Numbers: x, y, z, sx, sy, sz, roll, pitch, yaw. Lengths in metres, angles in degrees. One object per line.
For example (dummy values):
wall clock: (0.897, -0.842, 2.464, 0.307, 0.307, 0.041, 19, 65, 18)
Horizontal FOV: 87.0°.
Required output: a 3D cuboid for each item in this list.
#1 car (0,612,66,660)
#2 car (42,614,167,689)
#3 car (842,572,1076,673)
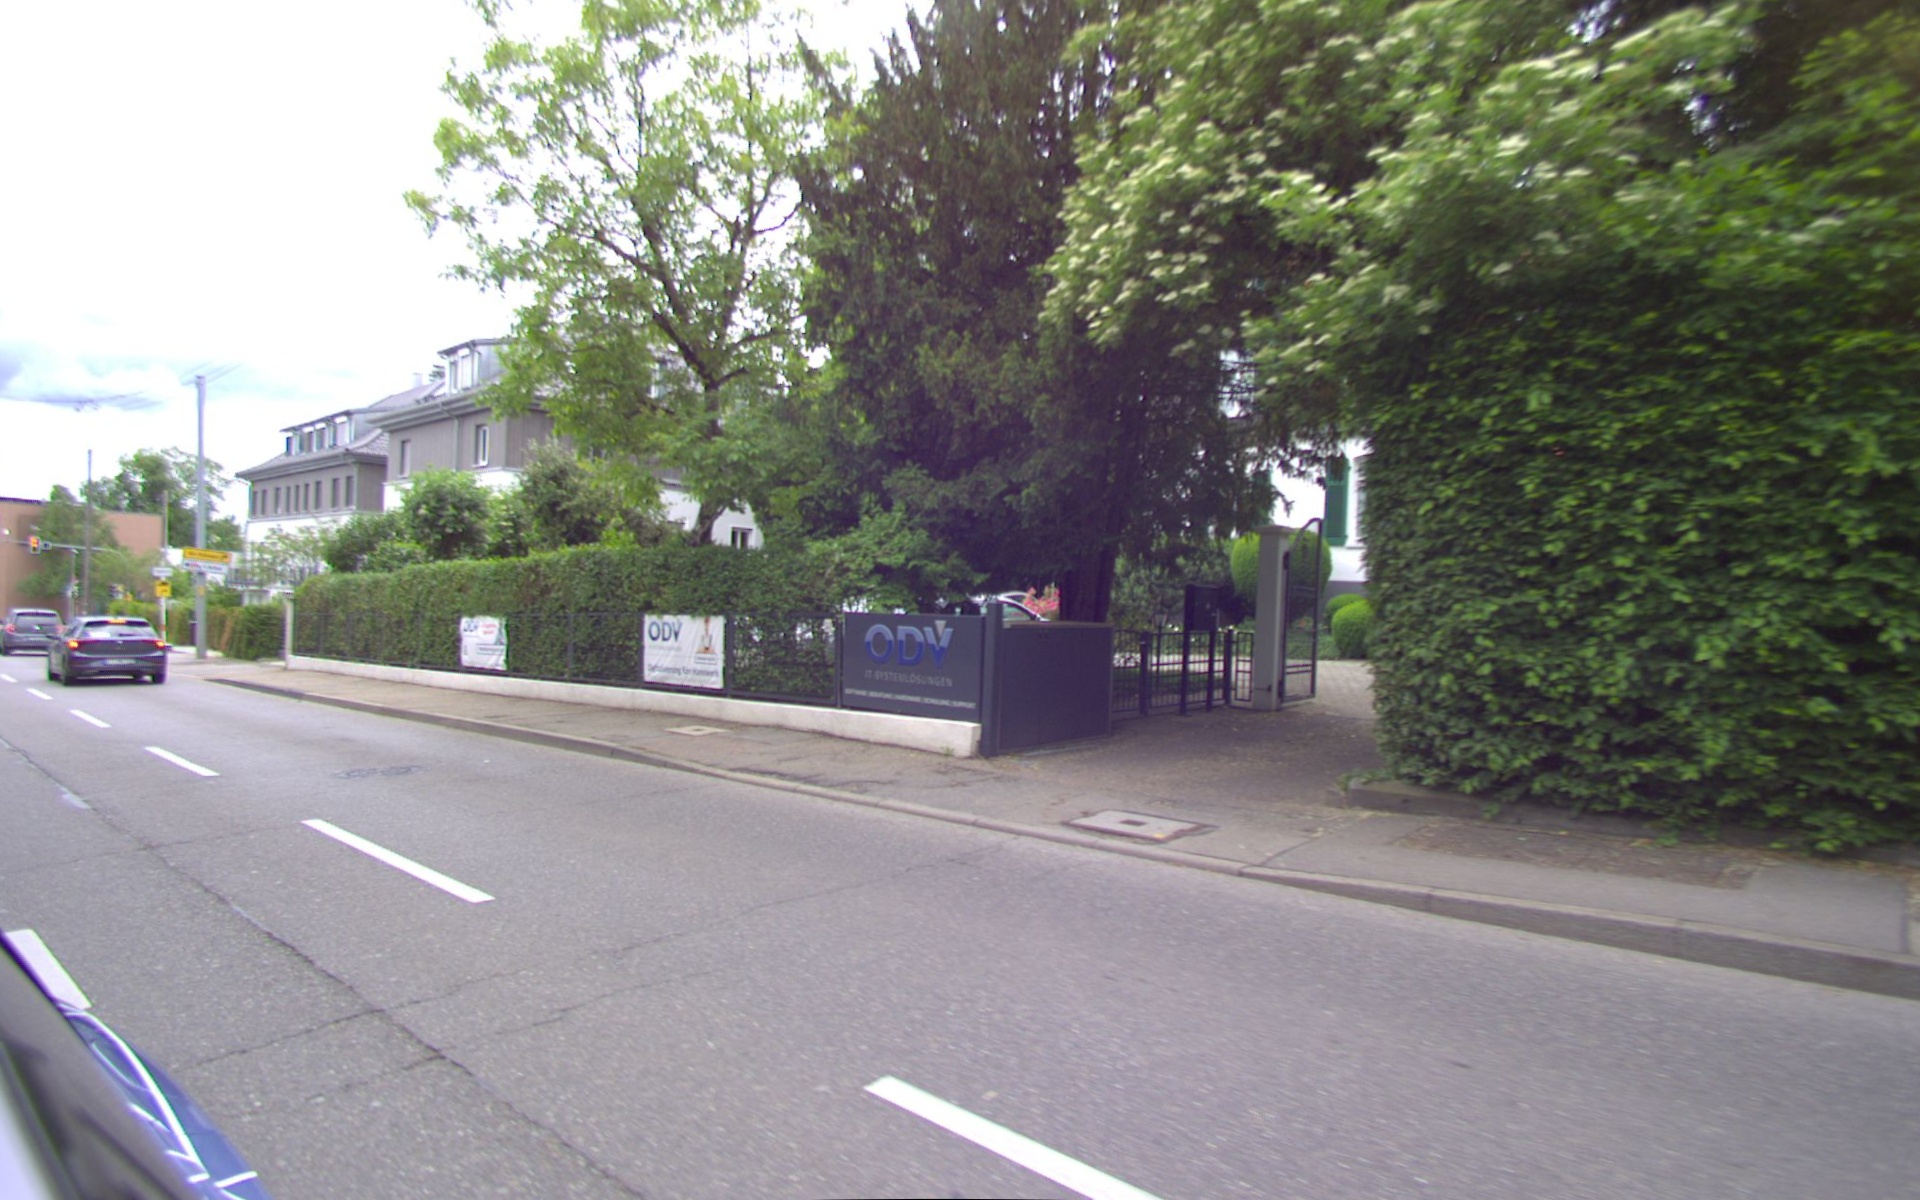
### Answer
car: (-31.358, 1.182, 34.022, 3.537, 1.530, 1.665, -1, -1, 44)
car: (-18.776, 1.069, 22.153, 4.018, 1.482, 1.662, -2, -1, 43)
car: (0.072, 0.391, 17.918, 2.000, 1.564, 3.944, 1, -1, 42)
